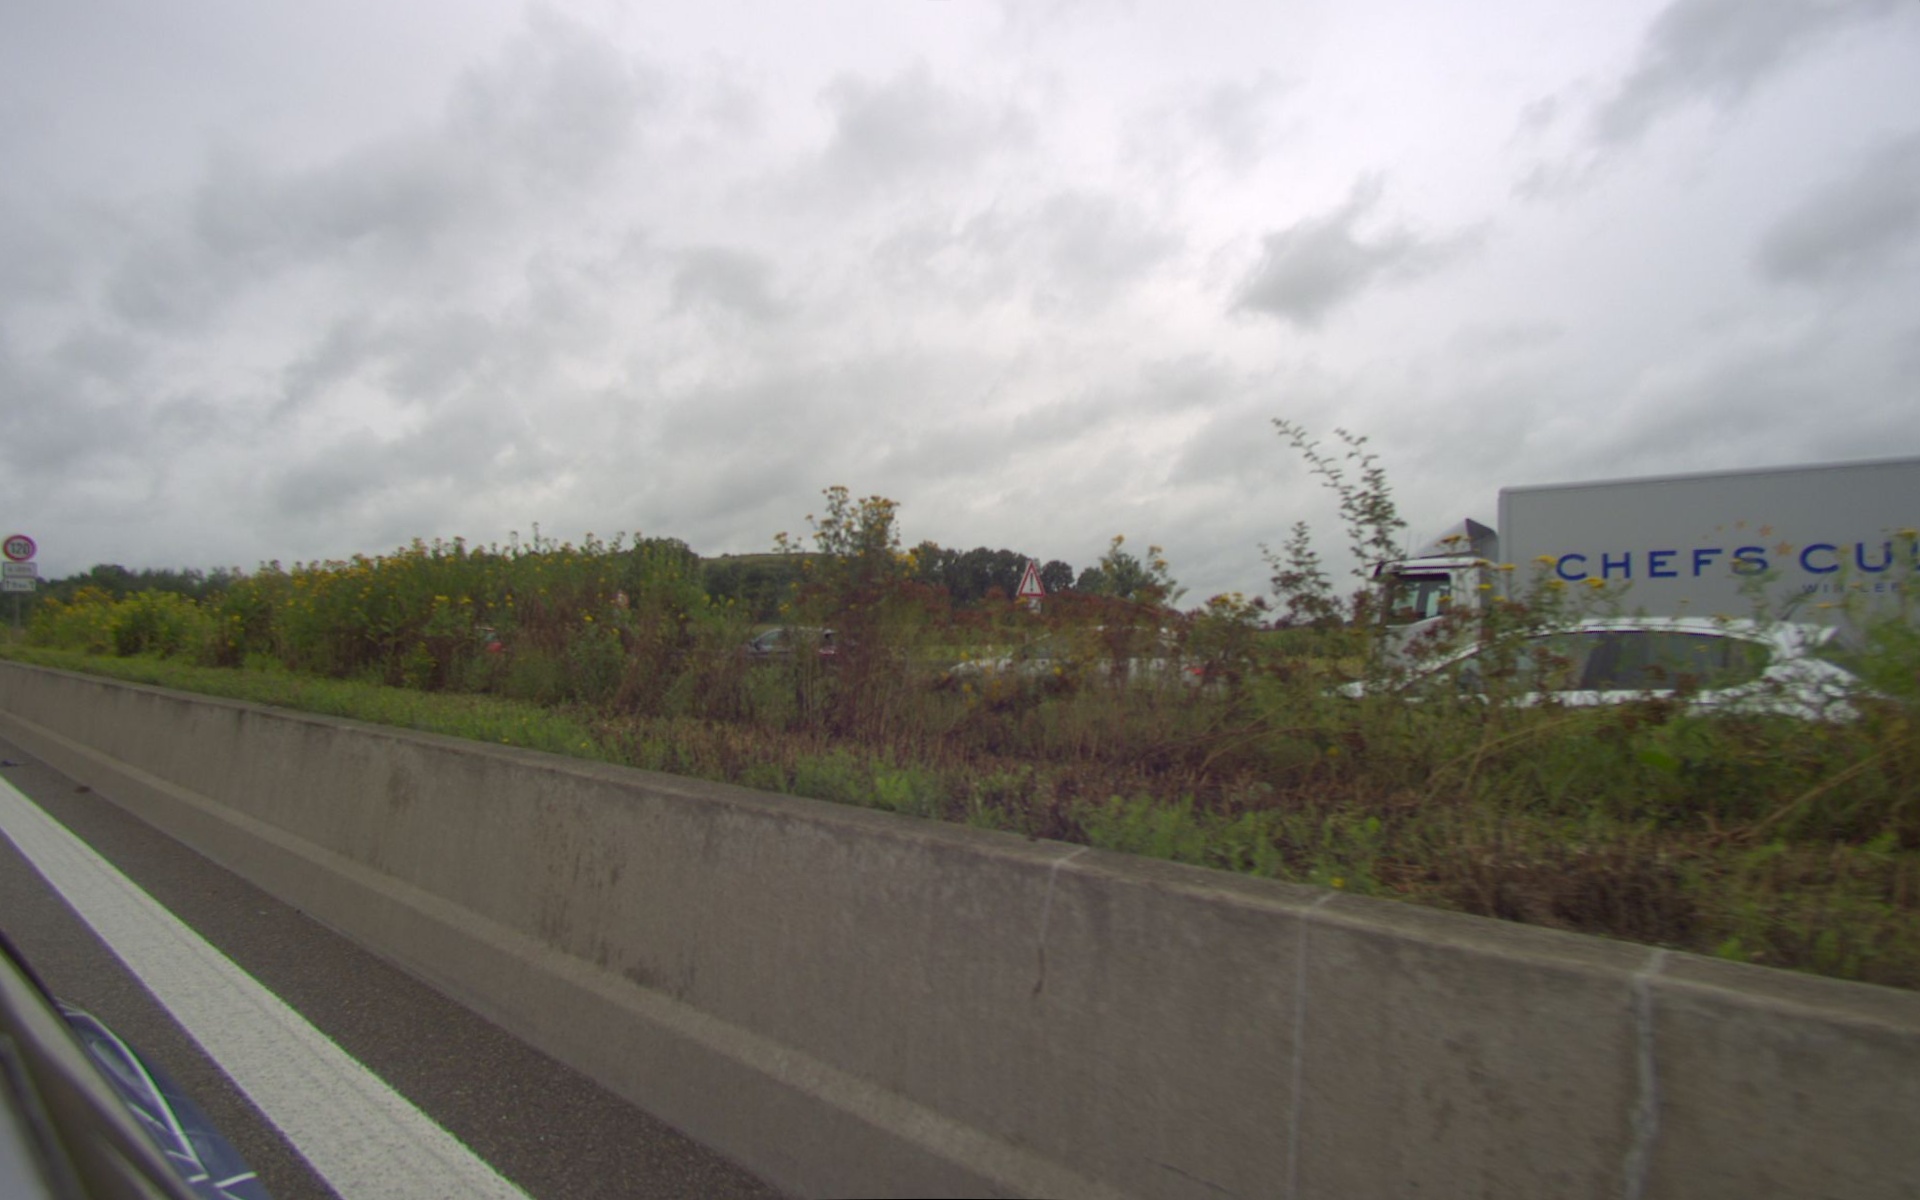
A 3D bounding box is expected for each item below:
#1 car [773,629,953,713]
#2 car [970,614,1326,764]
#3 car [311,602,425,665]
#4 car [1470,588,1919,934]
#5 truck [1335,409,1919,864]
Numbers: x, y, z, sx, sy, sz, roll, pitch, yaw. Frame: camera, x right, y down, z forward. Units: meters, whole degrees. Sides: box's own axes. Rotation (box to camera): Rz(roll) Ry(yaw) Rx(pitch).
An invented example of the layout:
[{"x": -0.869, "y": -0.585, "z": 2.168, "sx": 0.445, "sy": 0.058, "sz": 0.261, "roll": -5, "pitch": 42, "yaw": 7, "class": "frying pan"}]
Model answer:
[{"x": -2.304, "y": 1.571, "z": 23.516, "sx": 3.998, "sy": 1.719, "sz": 1.973, "roll": -2, "pitch": -1, "yaw": 41, "class": "car"}, {"x": 2.456, "y": 1.089, "z": 13.973, "sx": 4.461, "sy": 1.709, "sz": 1.972, "roll": -2, "pitch": -1, "yaw": 43, "class": "car"}, {"x": -26.042, "y": 1.410, "z": 44.394, "sx": 6.902, "sy": 2.549, "sz": 2.222, "roll": -1, "pitch": 0, "yaw": 41, "class": "car"}, {"x": 5.564, "y": 0.841, "z": 6.110, "sx": 3.999, "sy": 1.798, "sz": 1.972, "roll": -4, "pitch": -2, "yaw": 42, "class": "car"}, {"x": 10.022, "y": 0.376, "z": 12.397, "sx": 9.670, "sy": 4.684, "sz": 3.191, "roll": -1, "pitch": 0, "yaw": 41, "class": "truck"}]
